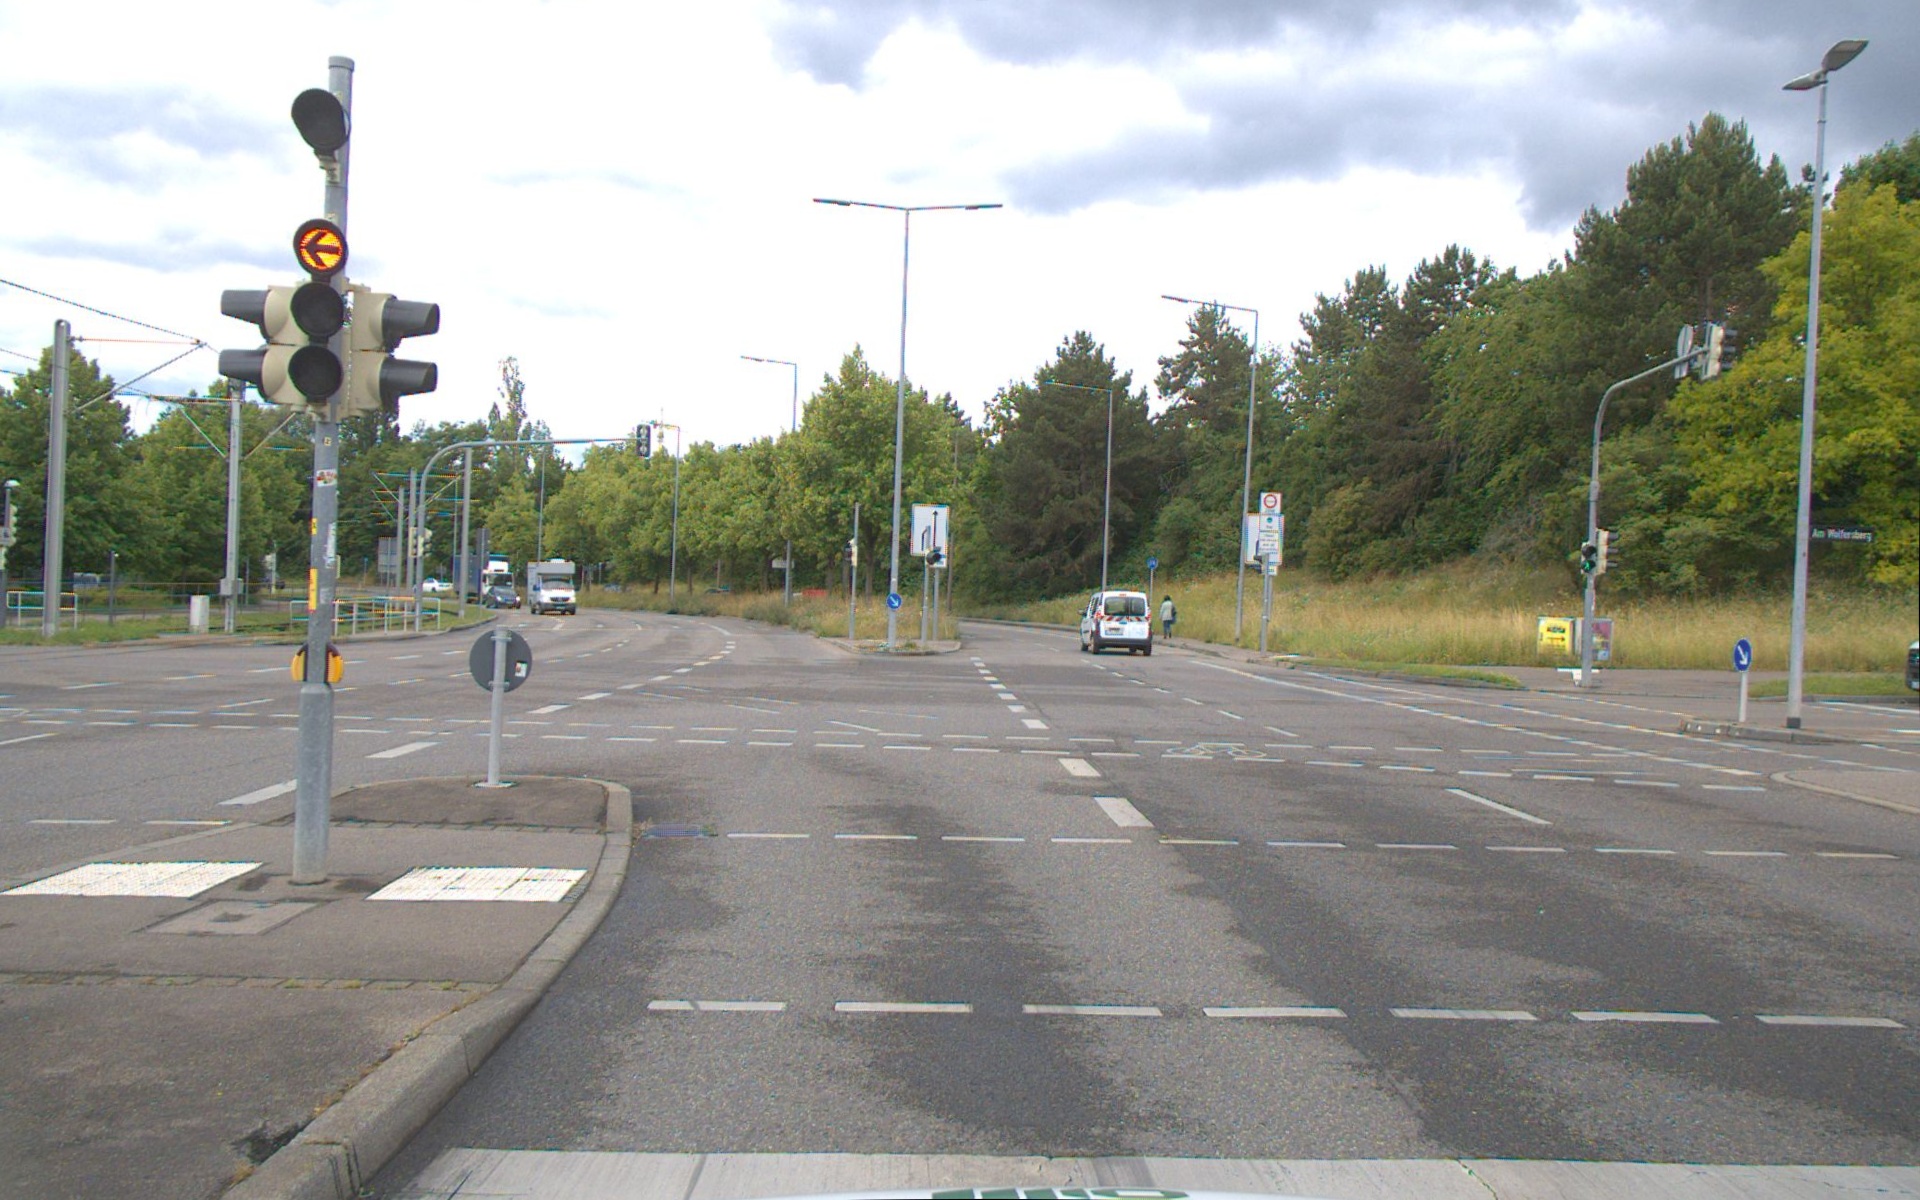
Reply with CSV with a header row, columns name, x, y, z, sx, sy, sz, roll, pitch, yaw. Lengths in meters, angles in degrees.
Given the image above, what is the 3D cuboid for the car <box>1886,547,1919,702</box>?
name,x,y,z,sx,sy,sz,roll,pitch,yaw
car,20.333,0.467,30.086,5.772,2.830,2.135,0,0,-1

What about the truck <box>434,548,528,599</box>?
name,x,y,z,sx,sy,sz,roll,pitch,yaw
truck,-38.322,-2.045,131.974,3.026,3.826,12.646,1,0,-36

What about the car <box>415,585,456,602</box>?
name,x,y,z,sx,sy,sz,roll,pitch,yaw
car,-50.691,-0.650,159.698,3.944,1.573,1.777,1,0,36

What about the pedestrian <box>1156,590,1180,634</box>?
name,x,y,z,sx,sy,sz,roll,pitch,yaw
pedestrian,8.028,0.466,63.902,0.797,1.656,0.790,1,0,-1

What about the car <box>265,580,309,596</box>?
name,x,y,z,sx,sy,sz,roll,pitch,yaw
car,-67.061,-1.215,164.767,4.430,1.471,1.783,2,3,31

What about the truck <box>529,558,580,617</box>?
name,x,y,z,sx,sy,sz,roll,pitch,yaw
truck,-22.927,-0.680,93.395,2.085,3.190,5.863,1,0,-21

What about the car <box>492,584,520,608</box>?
name,x,y,z,sx,sy,sz,roll,pitch,yaw
car,-30.992,-0.286,112.918,1.751,1.471,4.510,0,2,-15

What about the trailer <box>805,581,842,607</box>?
name,x,y,z,sx,sy,sz,roll,pitch,yaw
trailer,-9.250,-0.413,112.070,1.739,1.644,3.026,1,0,-20

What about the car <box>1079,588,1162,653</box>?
name,x,y,z,sx,sy,sz,roll,pitch,yaw
car,4.702,0.594,49.025,1.953,1.833,4.838,0,0,0
